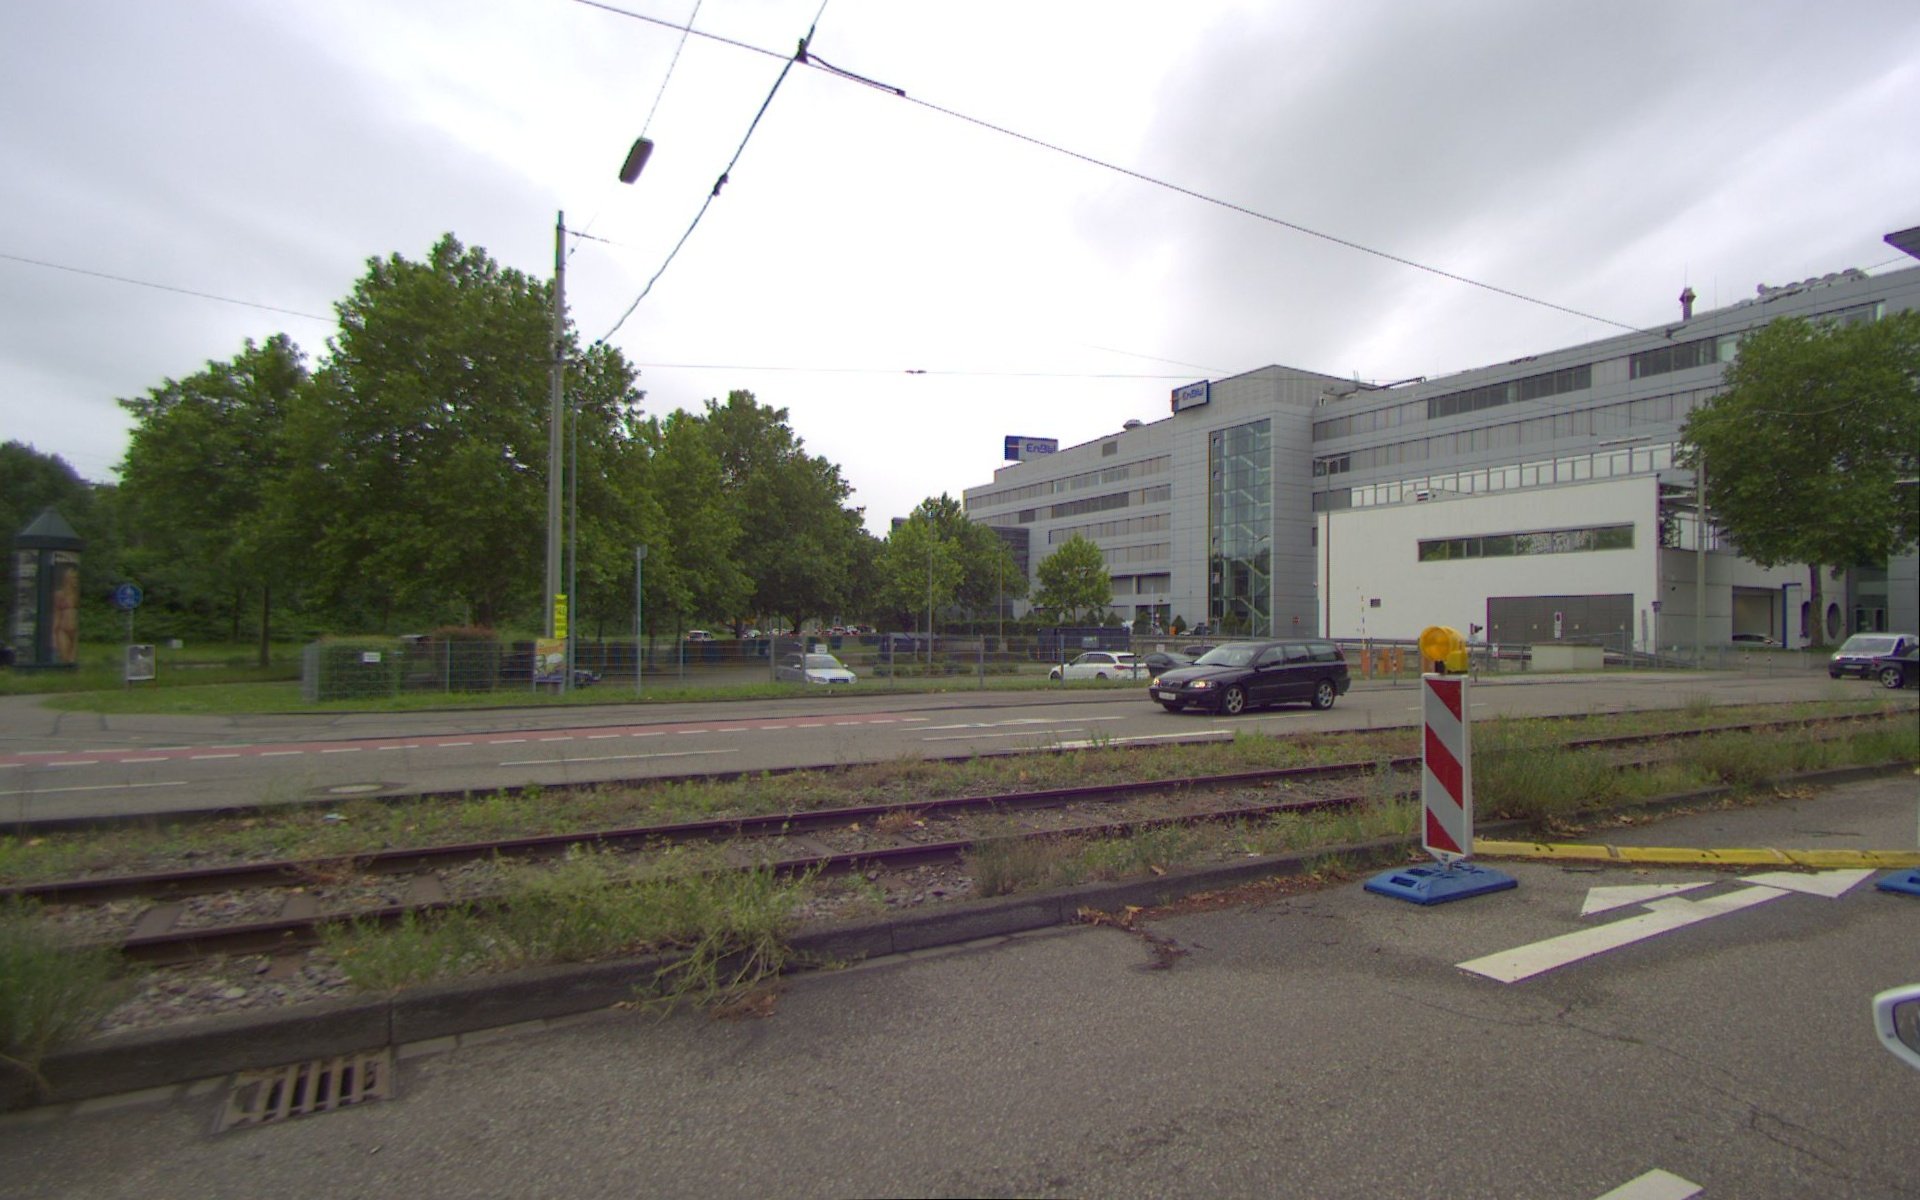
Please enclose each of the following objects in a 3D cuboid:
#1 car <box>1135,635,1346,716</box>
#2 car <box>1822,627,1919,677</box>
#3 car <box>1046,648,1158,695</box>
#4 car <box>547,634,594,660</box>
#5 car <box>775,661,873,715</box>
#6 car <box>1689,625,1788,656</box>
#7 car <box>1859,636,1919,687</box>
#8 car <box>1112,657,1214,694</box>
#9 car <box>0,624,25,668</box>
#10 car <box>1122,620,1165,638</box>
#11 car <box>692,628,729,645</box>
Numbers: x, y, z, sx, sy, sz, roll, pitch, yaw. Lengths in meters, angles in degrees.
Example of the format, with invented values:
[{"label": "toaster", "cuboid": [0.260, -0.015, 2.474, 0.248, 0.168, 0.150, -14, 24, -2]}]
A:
[{"label": "car", "cuboid": [5.826, 1.483, 20.664, 4.380, 1.492, 1.808, 2, -2, -34]}, {"label": "car", "cuboid": [34.943, 1.976, 38.502, 4.380, 1.806, 1.808, 2, -2, -34]}, {"label": "car", "cuboid": [5.465, 2.742, 39.219, 1.892, 1.655, 4.502, 2, -2, -32]}, {"label": "car", "cuboid": [-28.159, 3.400, 72.756, 1.742, 1.674, 3.671, 1, 0, 5]}, {"label": "car", "cuboid": [-4.579, 2.848, 33.326, 1.889, 1.552, 4.195, 1, -2, -28]}, {"label": "car", "cuboid": [47.723, 2.481, 61.661, 1.806, 1.692, 4.486, 2, 0, -32]}, {"label": "car", "cuboid": [28.842, 1.809, 29.011, 1.792, 1.494, 4.126, 2, -3, -7]}, {"label": "car", "cuboid": [8.259, 3.047, 41.111, 1.892, 1.332, 3.965, 2, -2, -32]}, {"label": "car", "cuboid": [-34.400, 1.580, 34.418, 1.743, 1.548, 3.662, 1, -2, -11]}, {"label": "car", "cuboid": [20.714, 3.297, 113.205, 4.595, 2.040, 1.985, 1, -2, -30]}, {"label": "car", "cuboid": [-25.390, 3.752, 102.531, 1.928, 1.548, 5.013, 1, 0, 8]}]
